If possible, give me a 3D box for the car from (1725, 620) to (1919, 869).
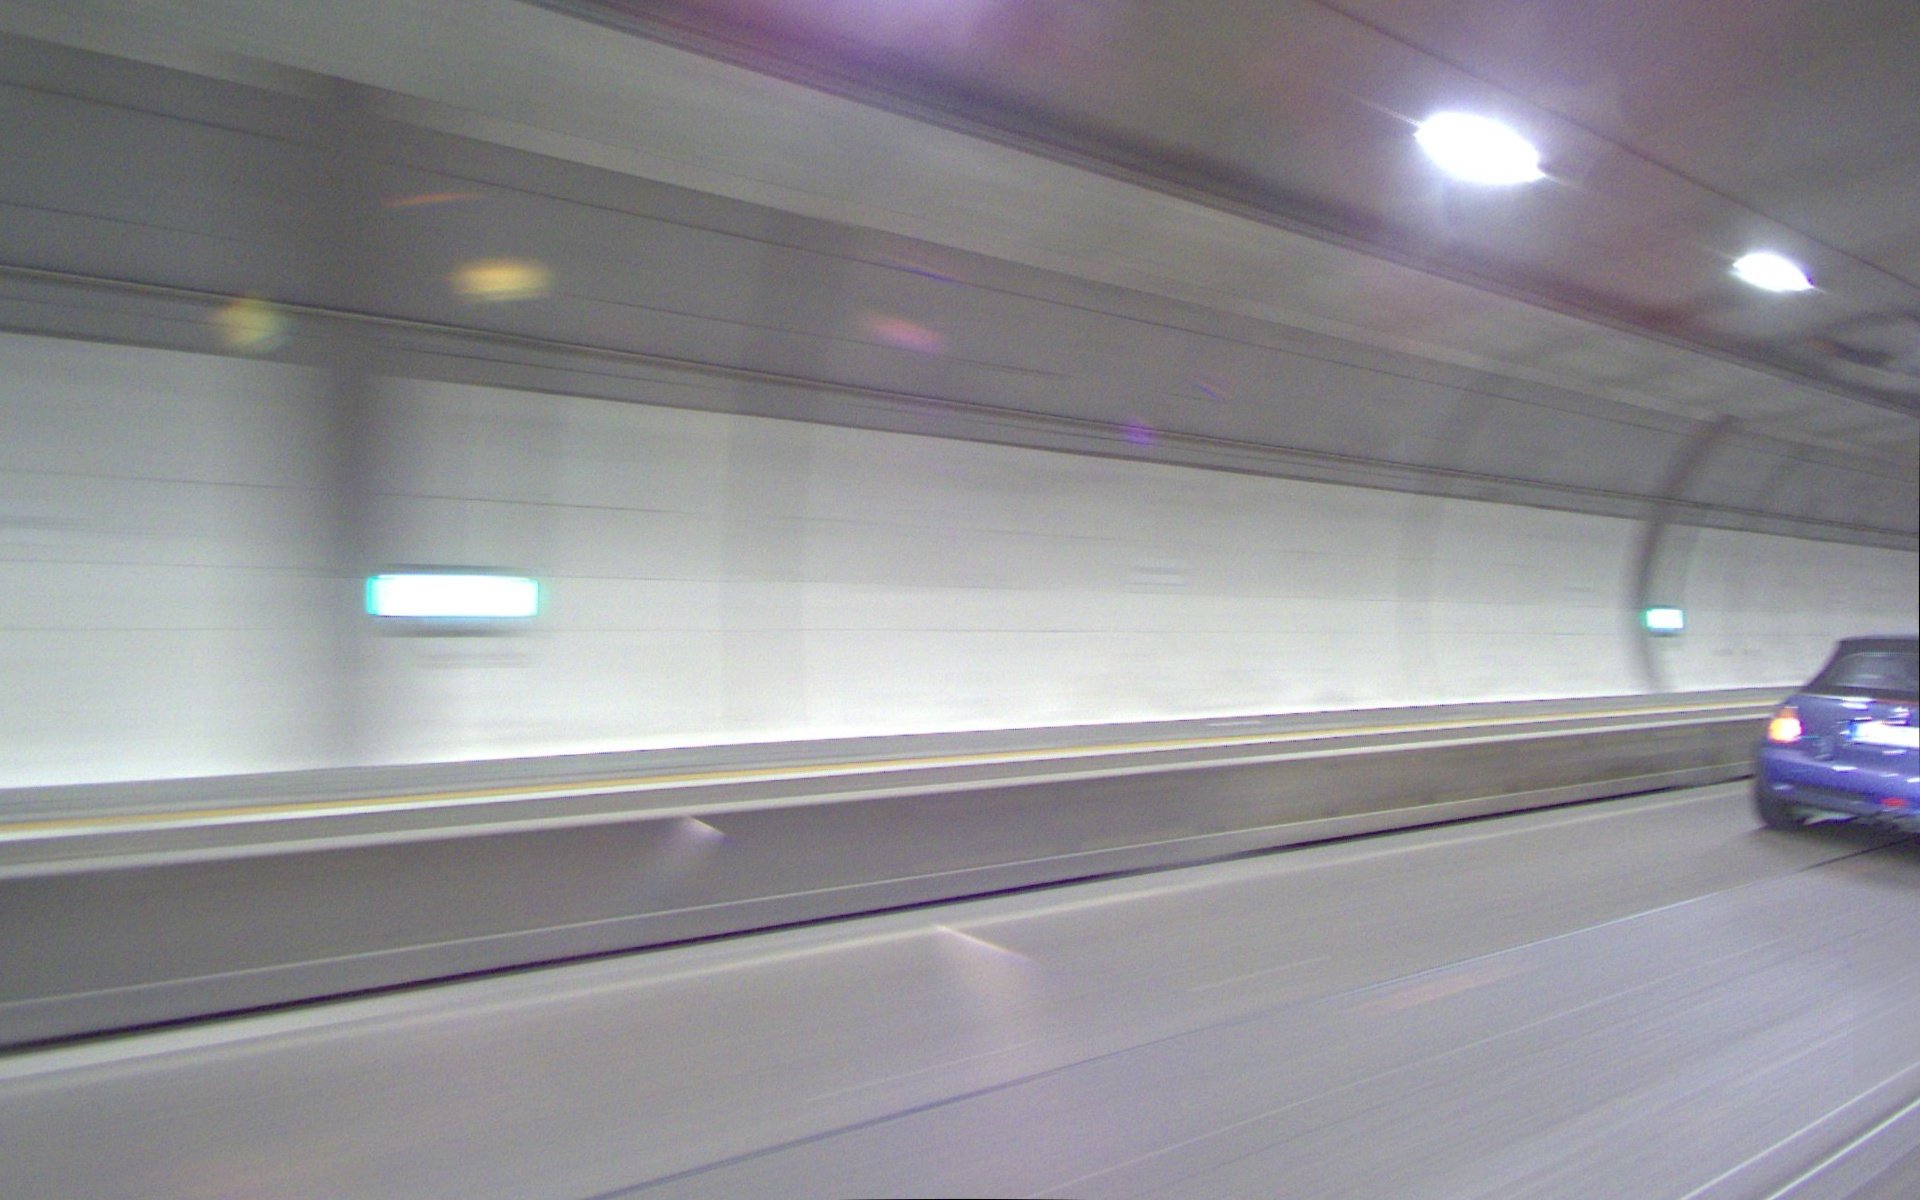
[{"bbox_3d":[7.270,0.917,7.053,3.878,1.436,1.680,2,0,-31],"label":"car"}]
